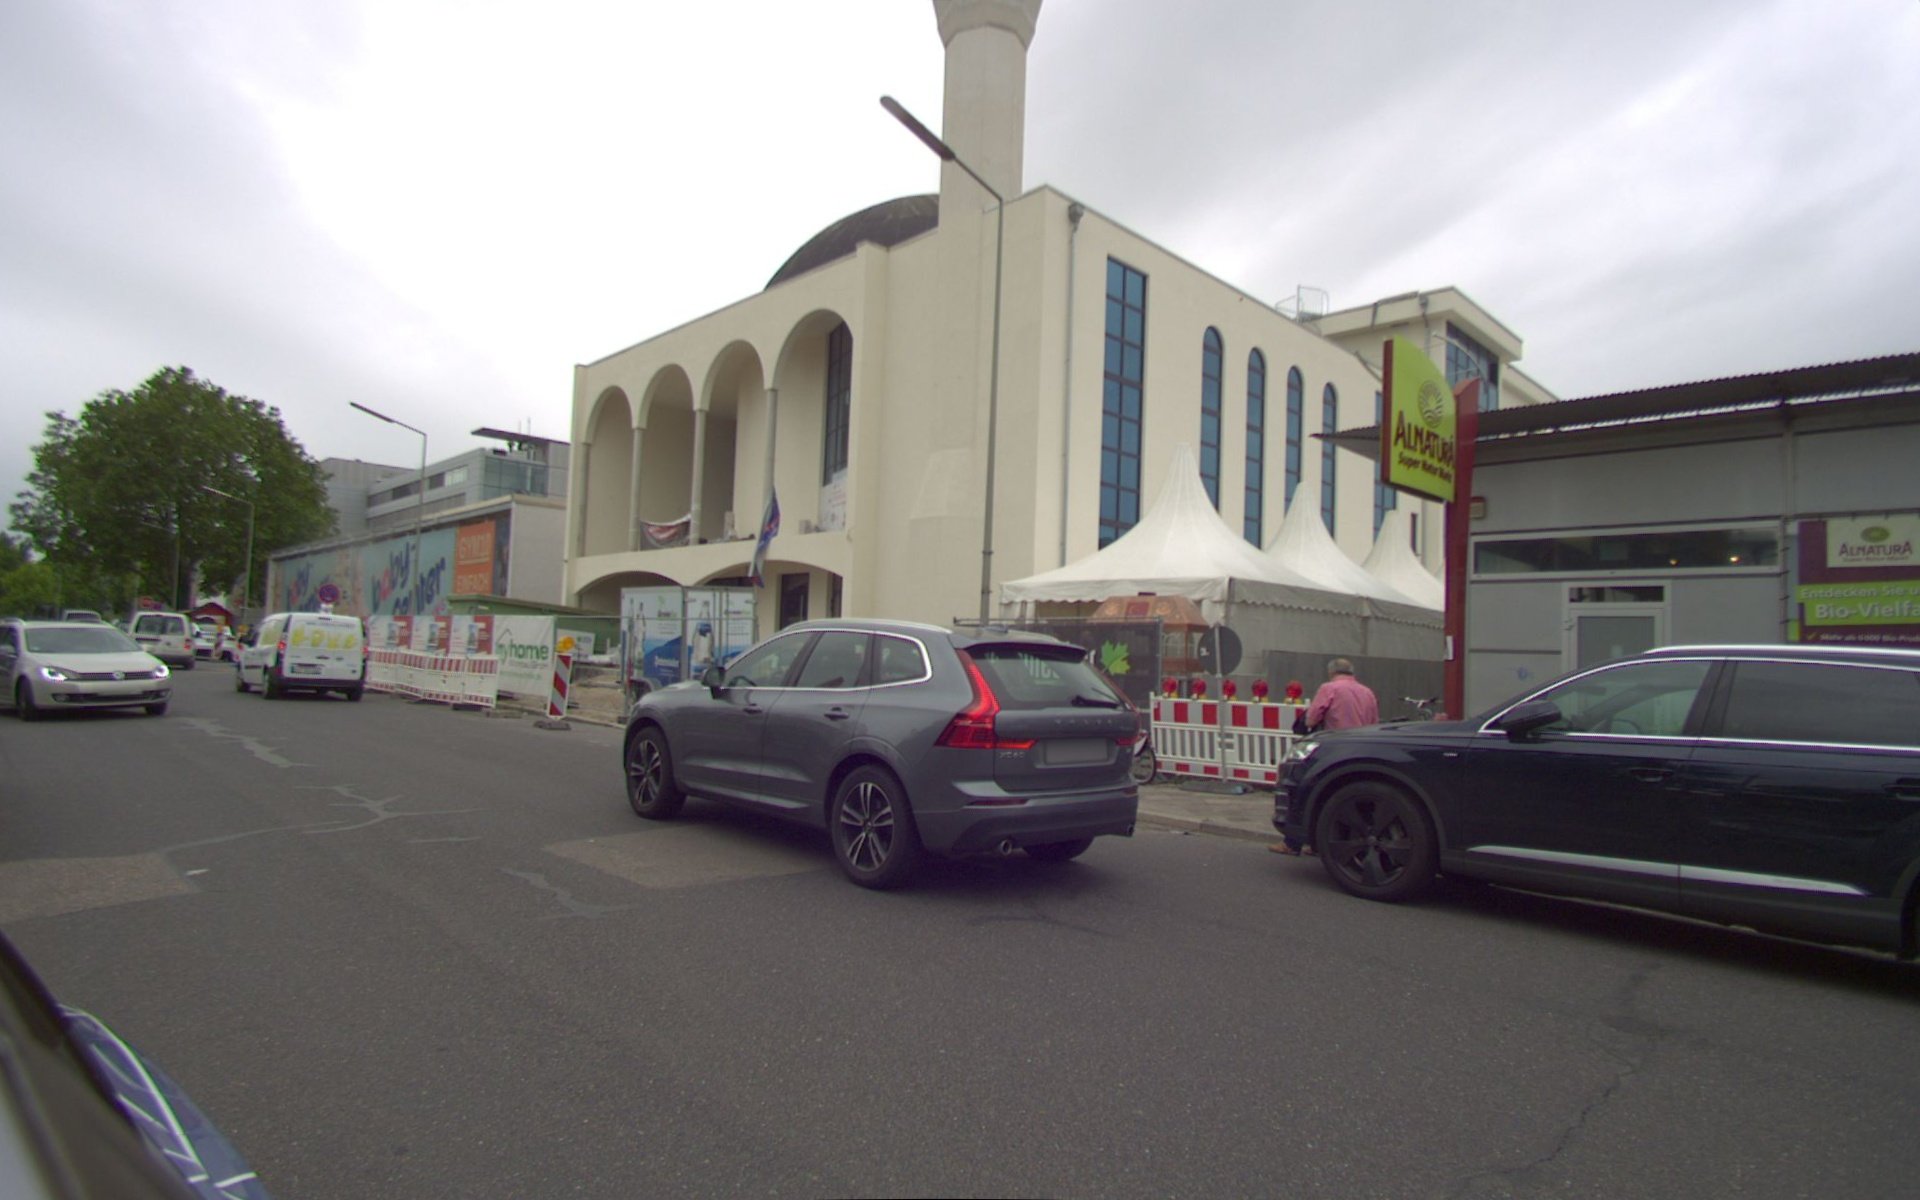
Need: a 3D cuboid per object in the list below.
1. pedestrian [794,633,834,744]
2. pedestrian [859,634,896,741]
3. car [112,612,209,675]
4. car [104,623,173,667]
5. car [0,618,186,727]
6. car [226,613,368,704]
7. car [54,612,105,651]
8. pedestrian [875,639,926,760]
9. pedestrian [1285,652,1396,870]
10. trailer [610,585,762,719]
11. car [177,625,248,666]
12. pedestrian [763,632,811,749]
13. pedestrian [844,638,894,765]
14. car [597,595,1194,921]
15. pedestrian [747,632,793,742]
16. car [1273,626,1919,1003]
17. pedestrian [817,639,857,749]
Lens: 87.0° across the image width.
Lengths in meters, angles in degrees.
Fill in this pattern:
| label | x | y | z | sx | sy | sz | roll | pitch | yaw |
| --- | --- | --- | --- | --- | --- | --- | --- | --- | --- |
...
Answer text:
| label | x | y | z | sx | sy | sz | roll | pitch | yaw |
| --- | --- | --- | --- | --- | --- | --- | --- | --- | --- |
| pedestrian | -2.371 | 1.428 | 16.480 | 0.522 | 1.763 | 0.490 | -2 | -3 | 4 |
| pedestrian | -1.308 | 1.375 | 16.113 | 0.485 | 1.623 | 0.540 | 1 | 2 | 6 |
| car | -25.970 | 1.397 | 33.020 | 1.770 | 1.821 | 4.396 | 5 | -4 | -30 |
| car | -33.016 | 1.775 | 40.642 | 1.709 | 1.583 | 3.949 | 7 | -6 | -44 |
| car | -14.169 | 1.047 | 15.834 | 4.280 | 1.462 | 1.741 | 0 | -2 | 30 |
| car | -14.379 | 1.224 | 21.857 | 4.137 | 1.774 | 1.670 | -1 | -5 | 45 |
| car | -50.568 | 1.794 | 58.087 | 1.904 | 2.029 | 4.960 | 5 | -4 | -43 |
| pedestrian | -0.877 | 1.455 | 15.042 | 0.686 | 1.731 | 0.687 | -2 | -3 | 0 |
| pedestrian | 3.091 | 1.286 | 8.265 | 0.668 | 1.634 | 0.651 | 4 | -6 | 10 |
| trailer | -5.873 | 1.102 | 21.551 | 1.776 | 2.626 | 3.195 | 5 | -5 | -41 |
| car | -33.114 | 2.016 | 44.803 | 1.901 | 1.586 | 4.153 | 9 | -7 | -43 |
| pedestrian | -2.696 | 1.402 | 15.796 | 0.681 | 1.763 | 0.491 | -1 | -3 | -6 |
| pedestrian | -1.254 | 1.394 | 14.029 | 0.509 | 1.706 | 0.530 | -2 | -3 | 14 |
| car | -0.734 | 0.926 | 7.574 | 1.911 | 1.697 | 4.497 | 7 | -5 | -45 |
| pedestrian | -3.114 | 1.414 | 16.590 | 0.681 | 1.763 | 0.491 | -1 | -3 | -6 |
| car | 4.478 | 1.102 | 5.896 | 1.843 | 1.704 | 4.733 | 10 | -8 | -43 |
| pedestrian | -1.856 | 1.409 | 15.338 | 0.563 | 1.624 | 0.491 | -1 | -3 | -6 |
